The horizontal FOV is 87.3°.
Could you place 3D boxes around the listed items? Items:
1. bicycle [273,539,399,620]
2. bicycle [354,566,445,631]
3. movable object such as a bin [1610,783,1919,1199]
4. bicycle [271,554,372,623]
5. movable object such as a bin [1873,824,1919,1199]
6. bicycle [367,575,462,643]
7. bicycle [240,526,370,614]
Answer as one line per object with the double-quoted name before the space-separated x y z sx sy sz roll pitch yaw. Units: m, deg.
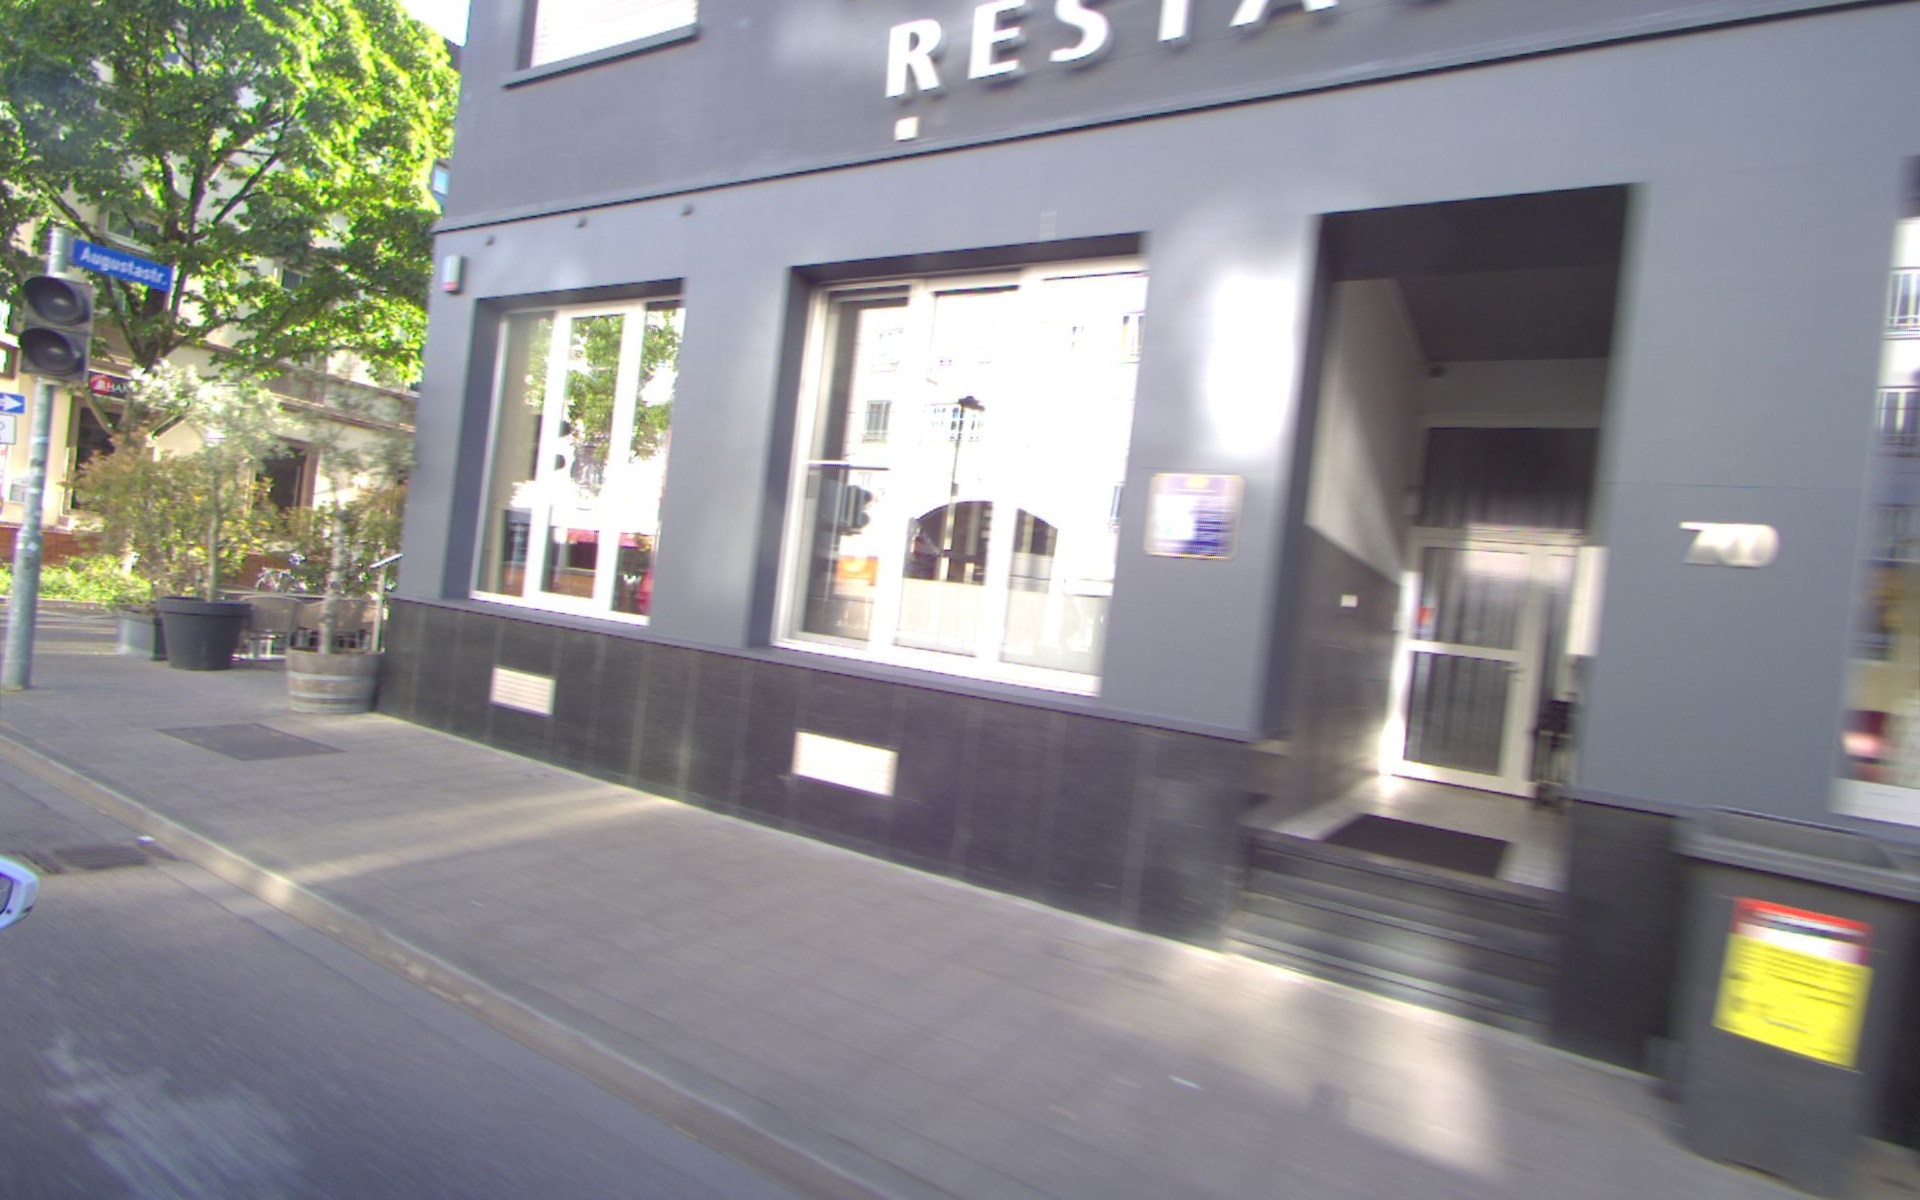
"bicycle" -11.543 -0.365 18.664 1.828 1.174 0.344 11 0 -26
"bicycle" -12.184 -0.036 21.908 1.575 1.137 0.344 11 0 -26
"movable object such as a bin" 2.603 1.223 3.240 0.741 1.050 0.748 6 2 32
"bicycle" -13.096 -0.229 20.668 1.575 1.137 0.344 11 0 -26
"movable object such as a bin" 3.229 1.287 2.842 0.741 1.050 0.748 6 2 32
"bicycle" -10.850 0.190 20.042 1.514 1.081 0.344 11 0 -26
"bicycle" -12.179 -0.543 18.756 1.828 1.309 0.344 11 0 -26
